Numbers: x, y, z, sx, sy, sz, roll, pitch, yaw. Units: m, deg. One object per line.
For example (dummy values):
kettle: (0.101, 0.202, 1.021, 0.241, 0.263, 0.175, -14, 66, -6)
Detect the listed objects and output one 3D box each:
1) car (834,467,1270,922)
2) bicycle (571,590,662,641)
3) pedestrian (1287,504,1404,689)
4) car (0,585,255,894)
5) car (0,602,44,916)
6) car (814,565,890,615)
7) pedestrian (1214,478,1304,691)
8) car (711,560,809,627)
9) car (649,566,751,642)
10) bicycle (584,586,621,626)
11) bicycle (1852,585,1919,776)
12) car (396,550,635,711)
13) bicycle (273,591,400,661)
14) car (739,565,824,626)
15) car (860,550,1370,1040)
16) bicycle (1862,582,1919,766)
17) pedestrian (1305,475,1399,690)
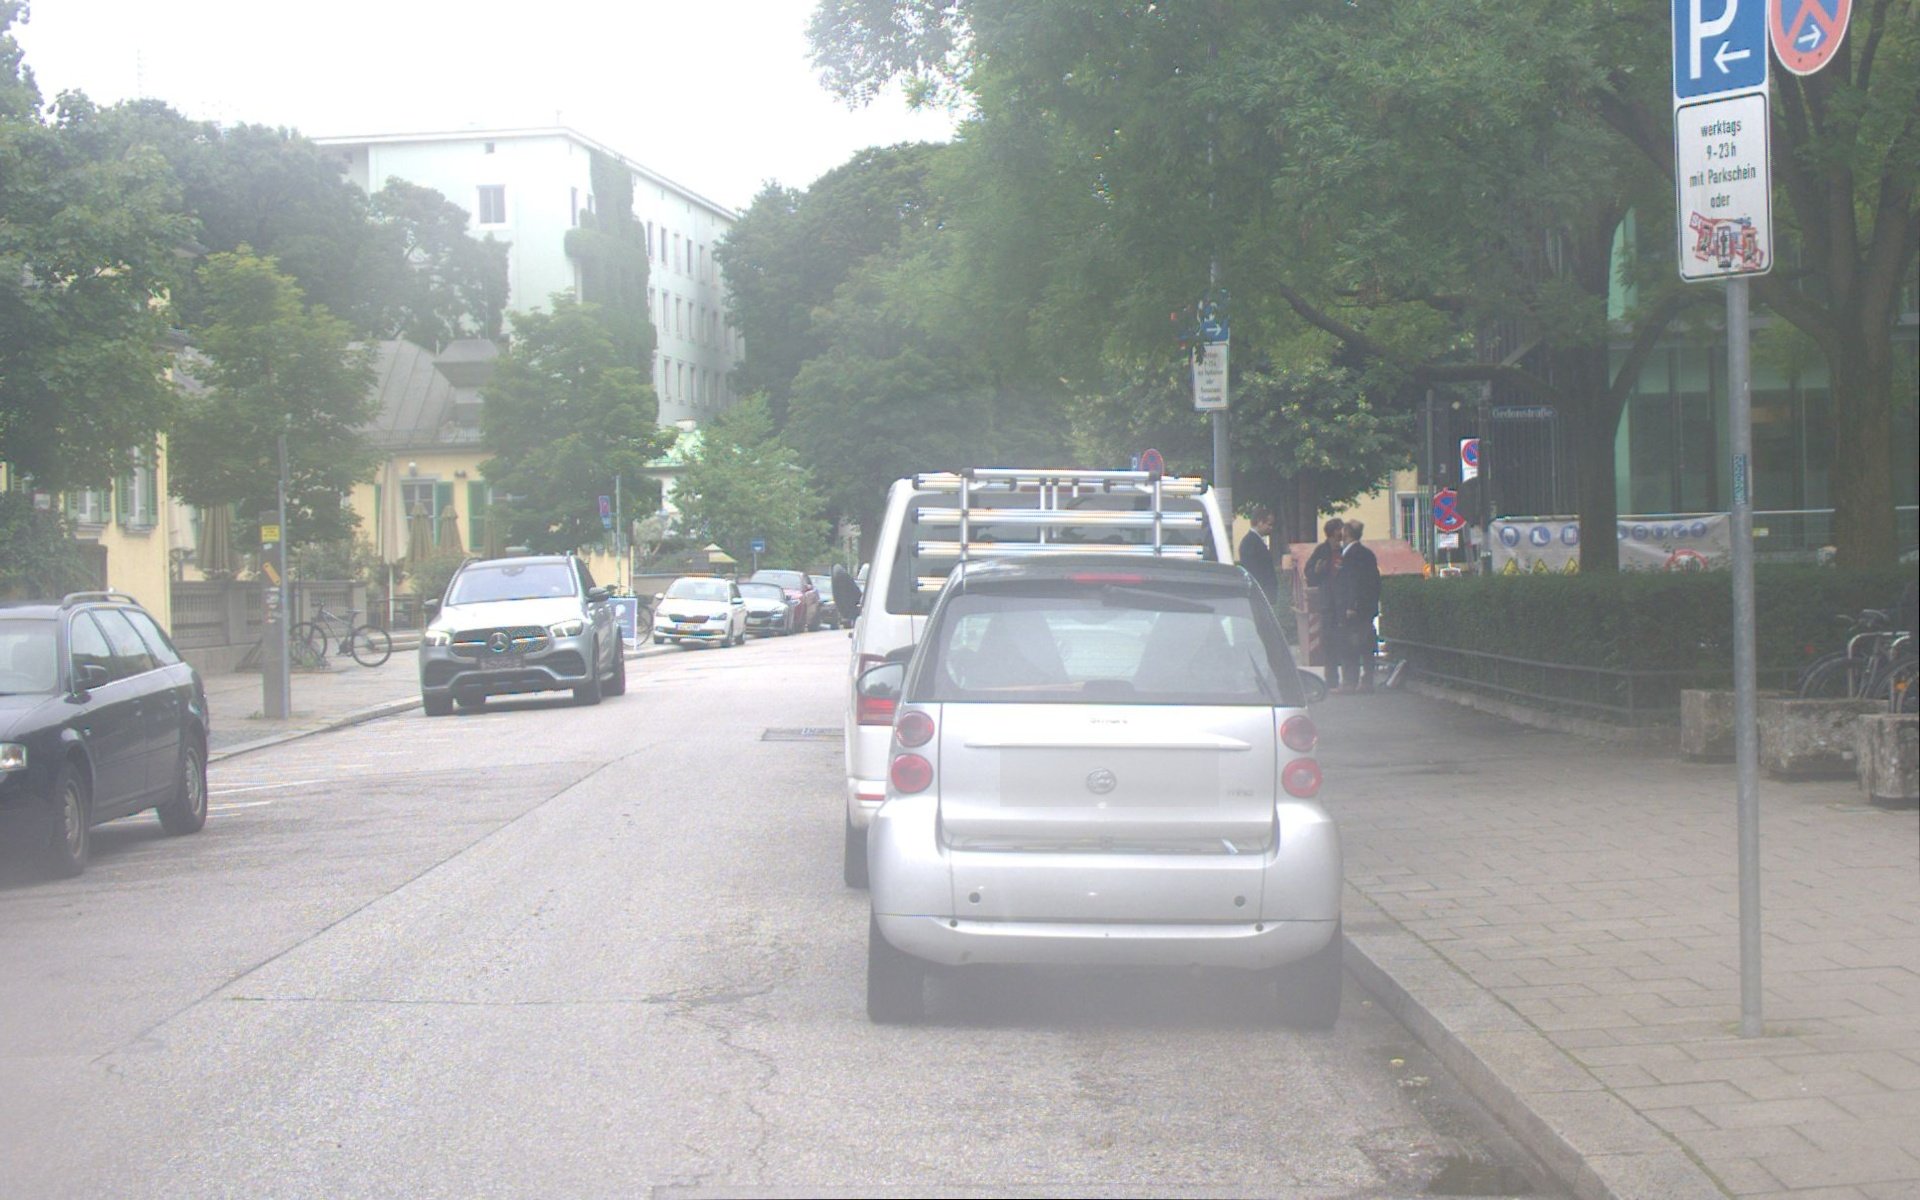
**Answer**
car: (0.335, 0.379, 17.501, 1.845, 1.926, 5.273, 1, 1, -1)
bicycle: (-7.062, 0.310, 70.770, 0.623, 1.001, 2.136, 2, 1, 33)
pedestrian: (4.062, -0.045, 36.227, 0.744, 1.901, 1.054, -2, 0, 35)
car: (-5.527, 0.720, 19.334, 1.993, 1.485, 4.883, -3, 1, 1)
car: (-5.329, 0.785, 14.072, 1.922, 1.434, 4.918, -3, 0, -2)
car: (-3.448, -0.337, 110.783, 1.994, 1.481, 4.000, -1, 1, 4)
pedestrian: (3.066, -0.161, 35.339, 0.742, 2.127, 1.056, -2, 0, -1)
car: (-5.071, -0.191, 87.858, 1.994, 1.643, 4.655, -1, 1, 3)
car: (-5.669, 0.074, 75.273, 1.734, 1.576, 3.787, 2, 1, 3)
bicycle: (-9.041, 0.160, 87.017, 0.621, 1.001, 1.618, -1, -1, 6)
bicycle: (6.372, 0.441, 20.503, 1.931, 1.110, 0.471, -3, 1, 2)
car: (-5.072, 0.302, 39.867, 2.025, 1.683, 4.677, -2, 1, 1)
bicycle: (-10.128, 0.417, 55.896, 1.931, 1.095, 0.615, 1, 1, 3)
car: (-4.802, -0.114, 92.940, 1.993, 1.597, 4.000, -1, 0, 1)
car: (0.490, 0.603, 12.401, 1.605, 1.541, 2.934, 1, 1, 0)
bicycle: (6.635, 0.417, 21.293, 1.931, 1.110, 0.471, -3, 1, 2)
pedestrian: (3.984, -0.180, 35.014, 0.742, 2.127, 1.056, -2, 0, -1)
